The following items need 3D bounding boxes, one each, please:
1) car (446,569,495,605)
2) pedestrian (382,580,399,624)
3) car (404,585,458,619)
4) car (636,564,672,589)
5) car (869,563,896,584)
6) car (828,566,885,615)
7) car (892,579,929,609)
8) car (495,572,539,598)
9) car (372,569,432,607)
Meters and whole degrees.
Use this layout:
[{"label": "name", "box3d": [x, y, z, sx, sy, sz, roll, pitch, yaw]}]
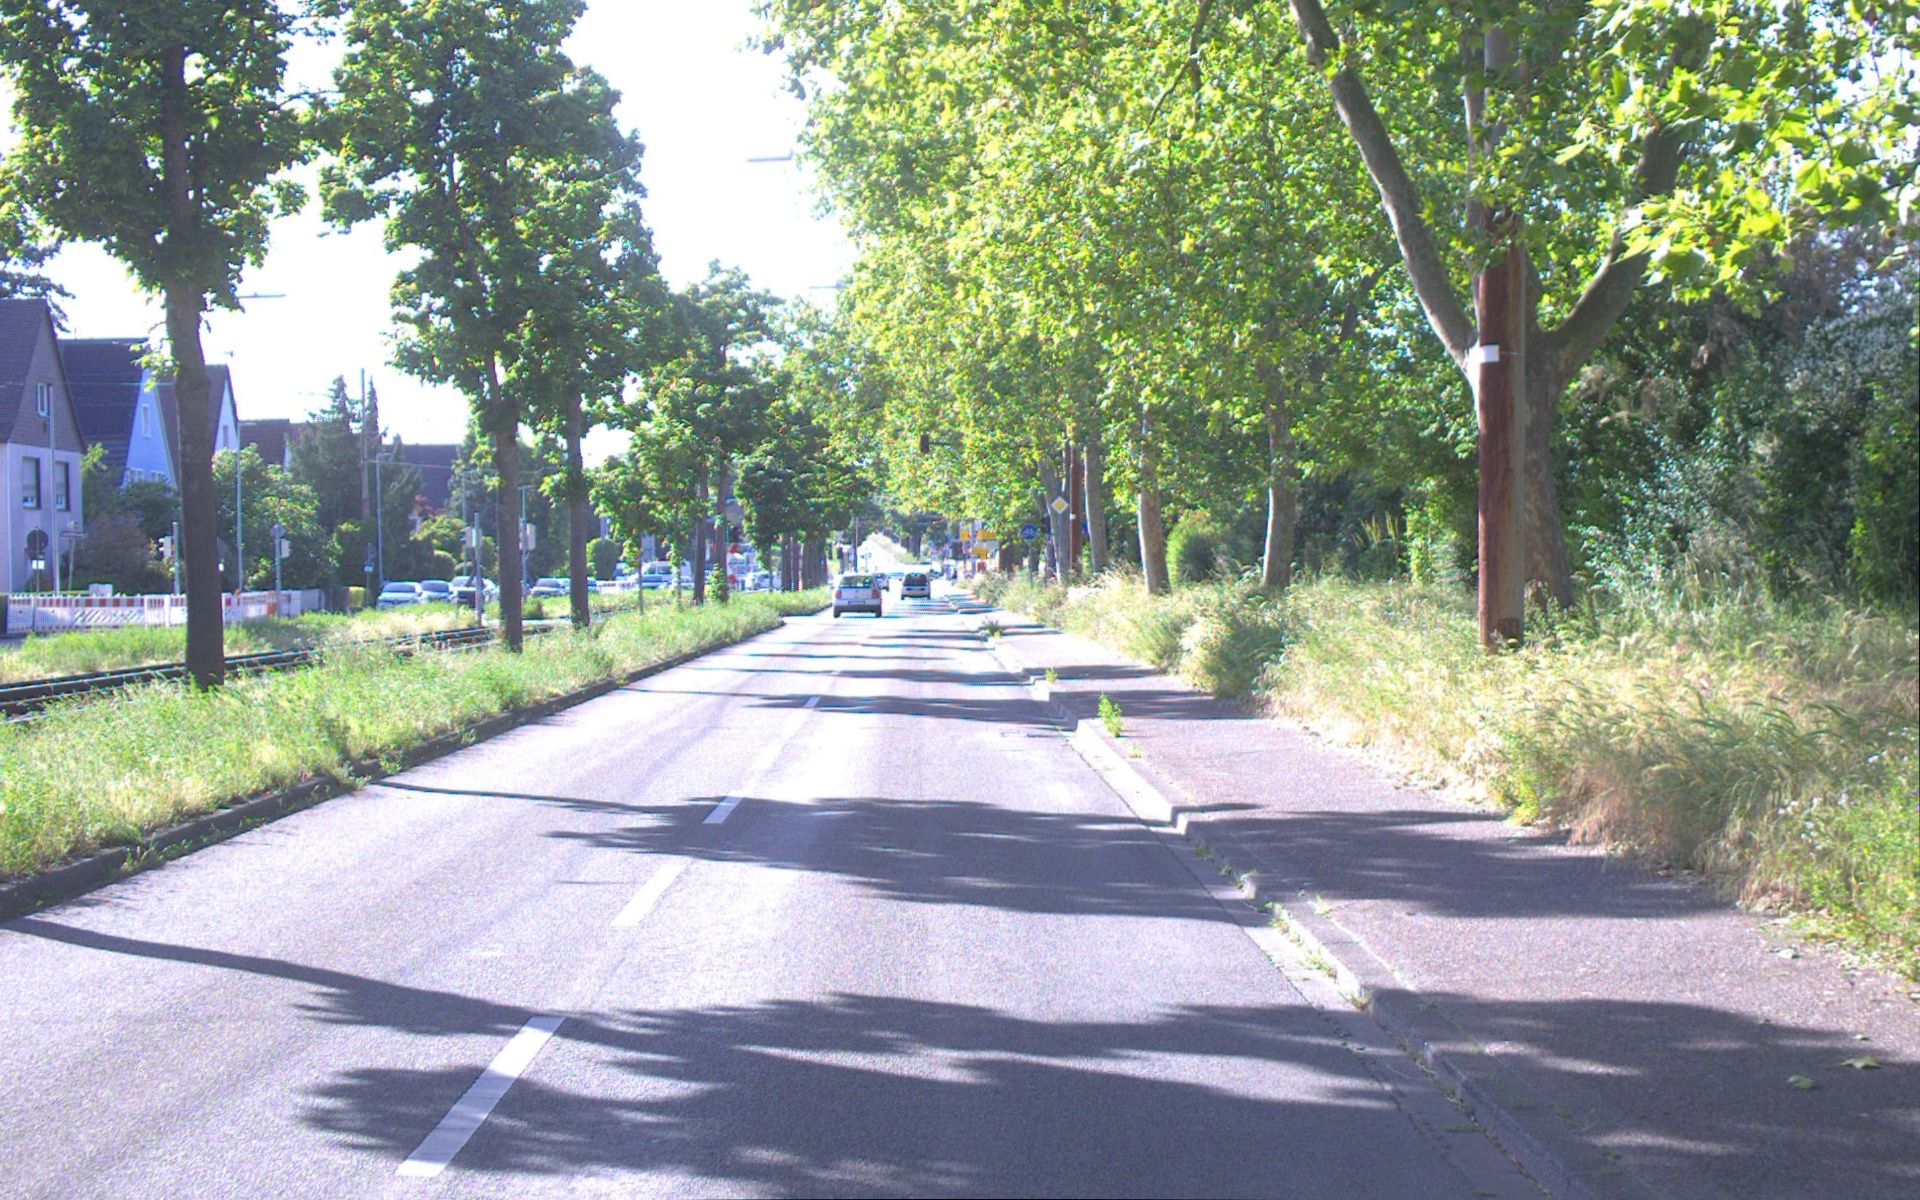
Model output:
[{"label": "car", "box3d": [-23.137, -0.624, 162.472, 1.748, 1.645, 4.555, 0, 0, -1]}, {"label": "pedestrian", "box3d": [-25.612, 0.087, 154.598, 0.680, 2.007, 0.772, 0, 0, -1]}, {"label": "car", "box3d": [-23.264, 0.074, 151.226, 1.729, 1.461, 4.603, 0, 0, -1]}, {"label": "car", "box3d": [-19.666, -1.534, 221.005, 1.993, 1.598, 4.473, 0, 0, -1]}, {"label": "car", "box3d": [-5.824, -1.989, 258.184, 1.993, 1.598, 4.473, 0, 0, -1]}, {"label": "car", "box3d": [-3.438, -0.340, 114.608, 1.860, 1.595, 4.228, 0, 0, -1]}, {"label": "car", "box3d": [-2.707, -0.324, 188.669, 1.993, 1.598, 4.473, 0, 0, -1]}, {"label": "car", "box3d": [-23.392, -0.797, 181.745, 1.860, 1.365, 4.228, 0, 0, -1]}, {"label": "car", "box3d": [-23.101, -0.518, 142.369, 1.860, 1.537, 4.228, 0, 0, -1]}]
